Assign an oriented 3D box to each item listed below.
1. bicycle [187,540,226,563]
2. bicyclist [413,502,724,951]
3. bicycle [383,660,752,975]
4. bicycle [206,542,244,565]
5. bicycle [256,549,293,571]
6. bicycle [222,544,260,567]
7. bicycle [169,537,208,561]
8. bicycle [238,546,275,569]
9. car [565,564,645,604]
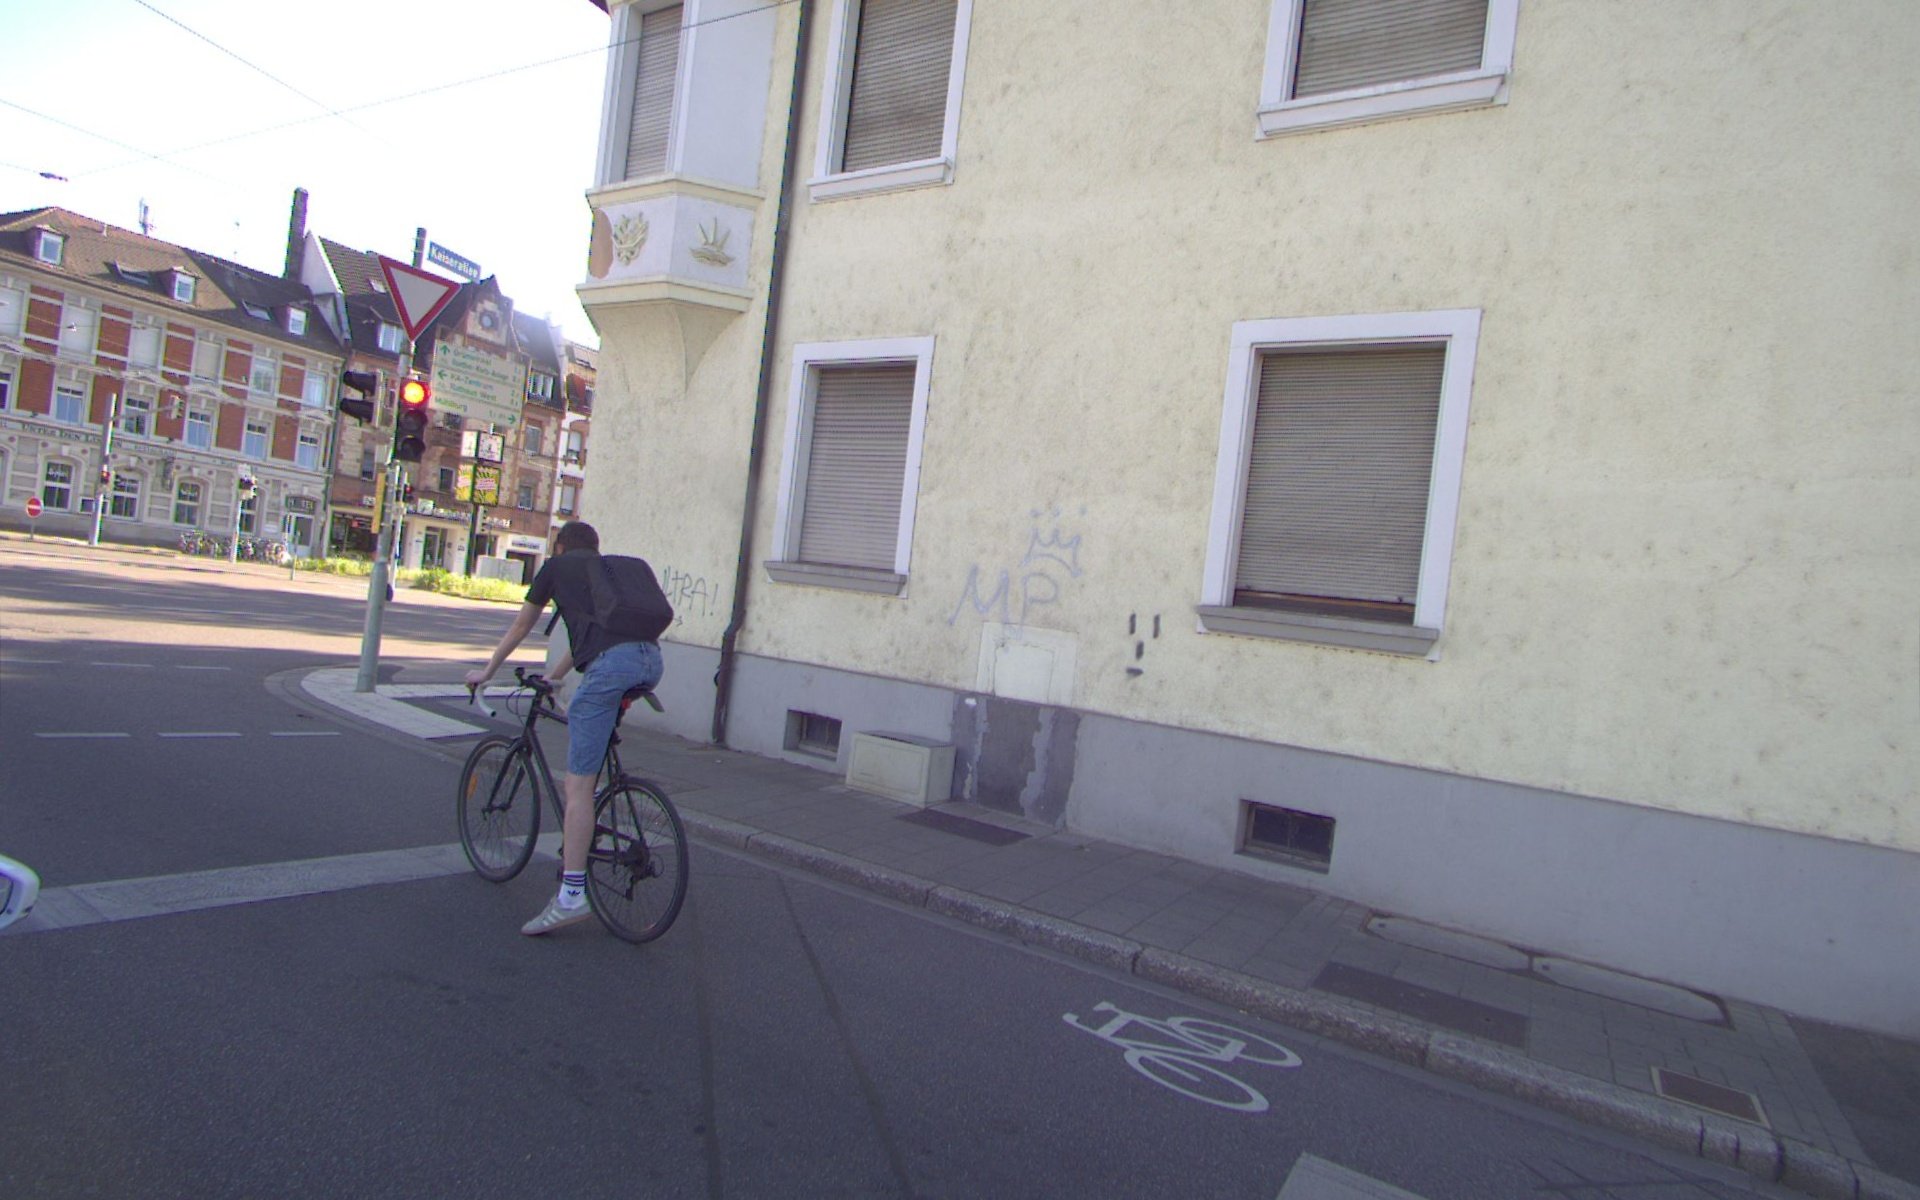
[{"bbox_3d":[-34.561,-2.234,46.143,2.125,0.850,0.659,6,-2,33],"label":"bicycle"},{"bbox_3d":[-1.752,0.493,4.483,1.098,1.722,0.573,7,0,32],"label":"bicyclist"},{"bbox_3d":[-1.800,0.877,4.504,1.721,0.982,0.519,7,0,32],"label":"bicycle"},{"bbox_3d":[-34.187,-2.160,46.764,2.125,0.850,0.659,6,-2,33],"label":"bicycle"},{"bbox_3d":[-33.110,-1.945,48.595,2.125,0.850,0.659,6,-2,33],"label":"bicycle"},{"bbox_3d":[-33.853,-2.092,47.360,2.125,0.850,0.659,6,-2,33],"label":"bicycle"},{"bbox_3d":[-34.877,-2.302,45.476,2.125,0.850,0.659,6,-2,33],"label":"bicycle"},{"bbox_3d":[-33.498,-2.024,47.891,2.125,0.850,0.659,6,-2,33],"label":"bicycle"},{"bbox_3d":[-23.019,-1.001,65.322,1.968,2.038,4.430,7,-1,34],"label":"car"}]
